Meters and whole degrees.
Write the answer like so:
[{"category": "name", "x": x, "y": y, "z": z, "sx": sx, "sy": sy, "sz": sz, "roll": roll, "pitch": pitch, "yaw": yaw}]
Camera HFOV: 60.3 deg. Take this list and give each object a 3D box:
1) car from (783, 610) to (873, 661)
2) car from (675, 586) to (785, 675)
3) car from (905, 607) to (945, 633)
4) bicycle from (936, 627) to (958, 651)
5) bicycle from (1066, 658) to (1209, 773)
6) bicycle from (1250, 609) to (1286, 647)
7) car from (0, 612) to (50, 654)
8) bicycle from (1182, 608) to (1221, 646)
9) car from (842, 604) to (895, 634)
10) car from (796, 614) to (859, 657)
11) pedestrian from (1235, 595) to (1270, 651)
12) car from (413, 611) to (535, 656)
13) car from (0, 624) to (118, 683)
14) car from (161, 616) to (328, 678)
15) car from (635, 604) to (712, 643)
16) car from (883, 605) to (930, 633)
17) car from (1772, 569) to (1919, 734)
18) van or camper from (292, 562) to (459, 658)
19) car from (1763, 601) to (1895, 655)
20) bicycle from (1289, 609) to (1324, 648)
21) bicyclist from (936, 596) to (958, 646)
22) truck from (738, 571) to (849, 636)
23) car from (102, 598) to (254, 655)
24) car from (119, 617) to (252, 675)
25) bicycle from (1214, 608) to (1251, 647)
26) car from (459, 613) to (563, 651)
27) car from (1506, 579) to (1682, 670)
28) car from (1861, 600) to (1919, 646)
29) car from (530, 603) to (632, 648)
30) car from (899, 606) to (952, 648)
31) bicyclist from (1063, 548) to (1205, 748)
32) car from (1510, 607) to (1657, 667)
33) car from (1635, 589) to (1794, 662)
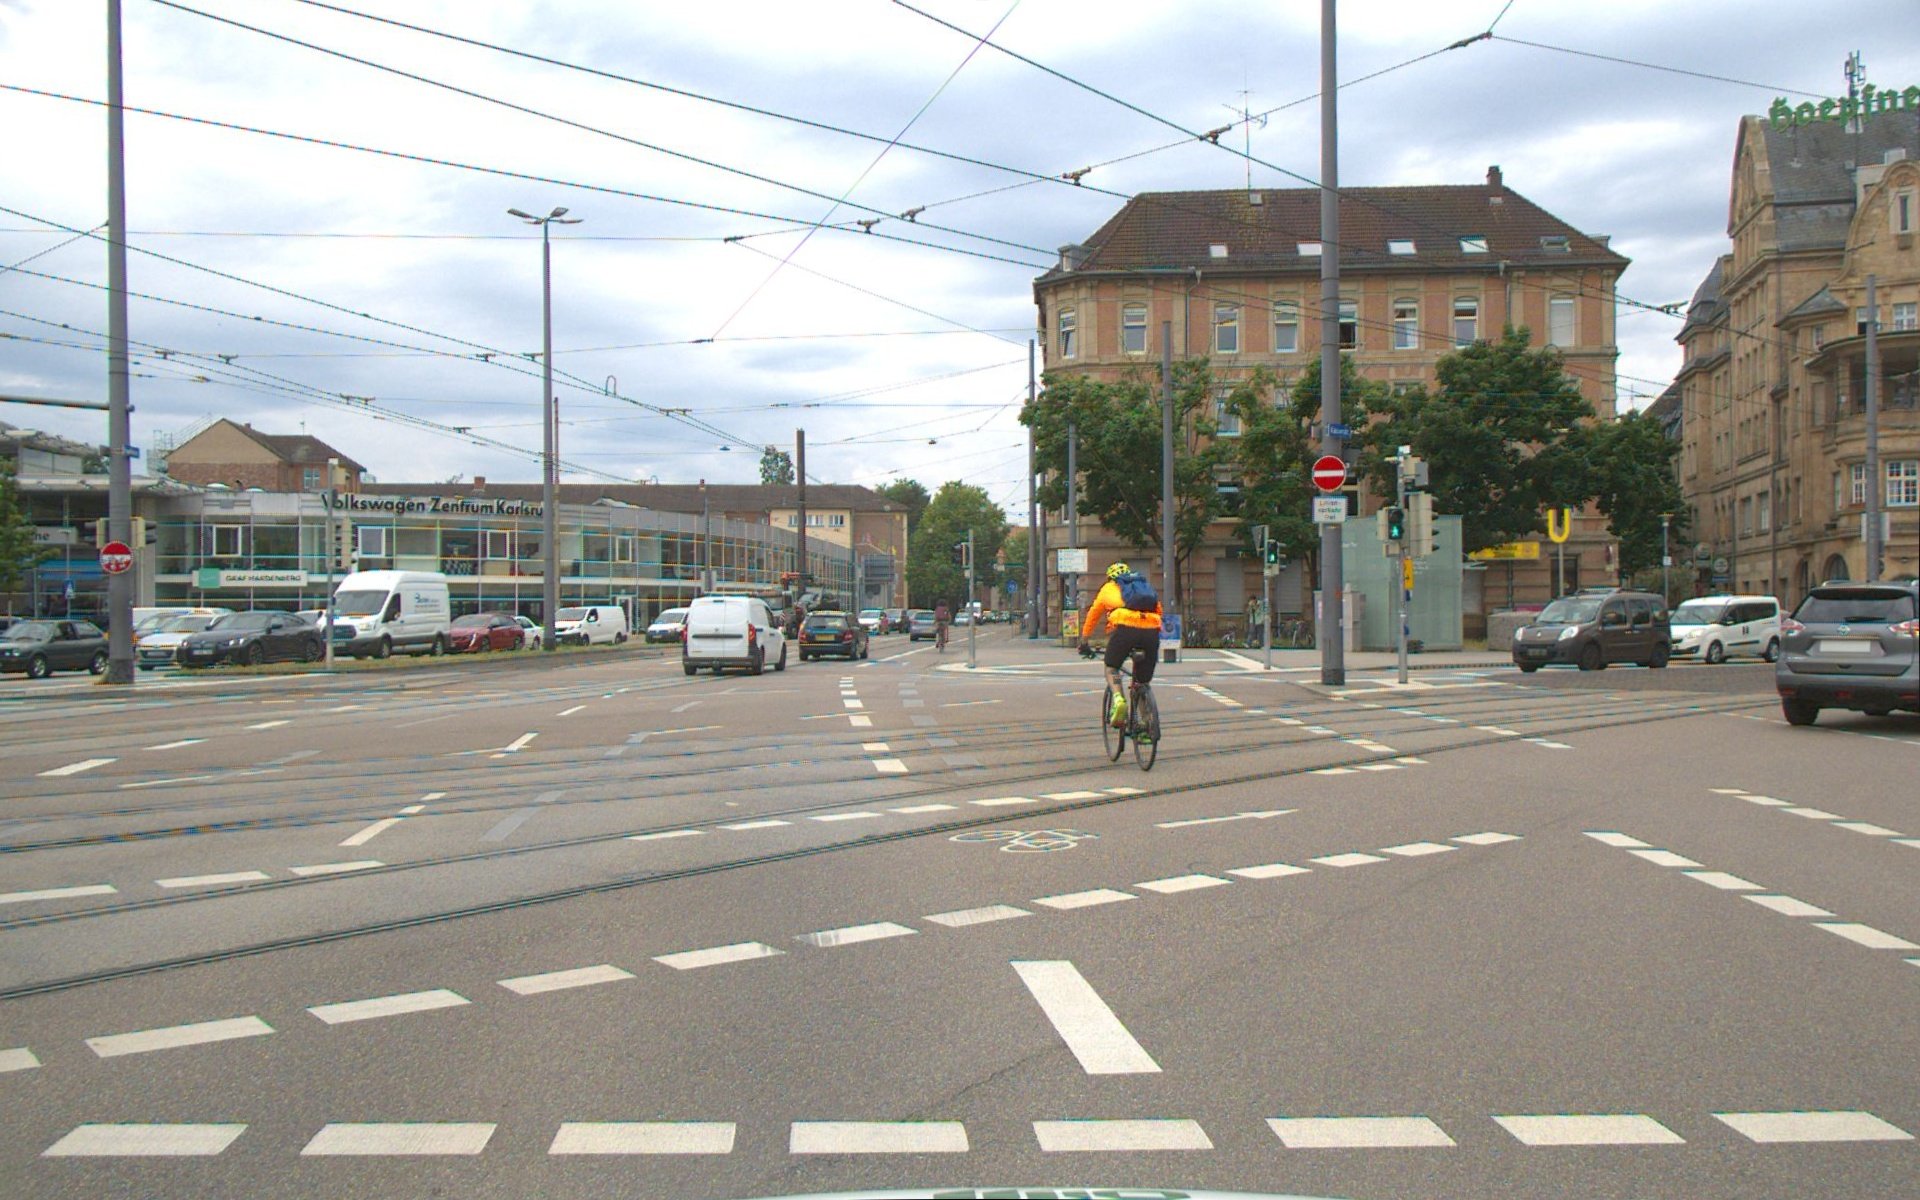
[{"category": "car", "x": -3.923, "y": 1.045, "z": 49.727, "sx": 1.951, "sy": 1.445, "sz": 4.003, "roll": -1, "pitch": 0, "yaw": 6}, {"category": "car", "x": -5.372, "y": 0.694, "z": 39.126, "sx": 1.873, "sy": 1.974, "sz": 4.132, "roll": 0, "pitch": 0, "yaw": 2}, {"category": "car", "x": -2.540, "y": 1.461, "z": 120.566, "sx": 1.951, "sy": 1.871, "sz": 4.527, "roll": -1, "pitch": 0, "yaw": 11}, {"category": "bicycle", "x": -0.473, "y": 1.376, "z": 58.208, "sx": 0.607, "sy": 0.807, "sz": 1.589, "roll": -1, "pitch": -1, "yaw": -7}, {"category": "bicycle", "x": 1.502, "y": 0.966, "z": 14.372, "sx": 0.547, "sy": 0.863, "sz": 2.065, "roll": 0, "pitch": -1, "yaw": -14}, {"category": "bicycle", "x": 11.323, "y": 1.027, "z": 60.736, "sx": 0.937, "sy": 1.378, "sz": 3.122, "roll": 0, "pitch": -1, "yaw": 18}, {"category": "car", "x": -33.479, "y": 1.143, "z": 57.207, "sx": 1.600, "sy": 1.445, "sz": 3.740, "roll": 0, "pitch": 0, "yaw": 7}, {"category": "bicycle", "x": 8.950, "y": 1.010, "z": 61.212, "sx": 0.937, "sy": 1.378, "sz": 3.122, "roll": 0, "pitch": -1, "yaw": 18}, {"category": "car", "x": -5.839, "y": 1.184, "z": 106.142, "sx": 1.951, "sy": 1.871, "sz": 4.526, "roll": -1, "pitch": 0, "yaw": 16}, {"category": "car", "x": -4.944, "y": 1.324, "z": 62.300, "sx": 1.814, "sy": 1.534, "sz": 4.001, "roll": 0, "pitch": -1, "yaw": 3}, {"category": "pedestrian", "x": 9.227, "y": 0.727, "z": 52.167, "sx": 0.894, "sy": 1.758, "sz": 0.600, "roll": 0, "pitch": -1, "yaw": -15}, {"category": "car", "x": -16.446, "y": 1.121, "z": 56.213, "sx": 1.951, "sy": 1.445, "sz": 4.805, "roll": -1, "pitch": 0, "yaw": 11}, {"category": "car", "x": -21.680, "y": 1.230, "z": 38.878, "sx": 1.651, "sy": 1.269, "sz": 3.739, "roll": 0, "pitch": 0, "yaw": 4}, {"category": "car", "x": -17.994, "y": 1.140, "z": 41.862, "sx": 1.951, "sy": 1.445, "sz": 4.664, "roll": 0, "pitch": 0, "yaw": 4}, {"category": "car", "x": -14.130, "y": 1.131, "z": 81.757, "sx": 1.951, "sy": 1.871, "sz": 4.526, "roll": -1, "pitch": 0, "yaw": 16}, {"category": "car", "x": -3.661, "y": 1.280, "z": 114.332, "sx": 1.951, "sy": 1.871, "sz": 4.526, "roll": -1, "pitch": 0, "yaw": 16}, {"category": "car", "x": 11.354, "y": 0.554, "z": 19.784, "sx": 3.892, "sy": 1.786, "sz": 1.727, "roll": 0, "pitch": 0, "yaw": -43}, {"category": "van or camper", "x": -17.252, "y": 0.334, "z": 49.238, "sx": 2.364, "sy": 2.657, "sz": 6.055, "roll": 0, "pitch": -1, "yaw": 5}, {"category": "car", "x": 26.373, "y": 0.839, "z": 50.169, "sx": 4.254, "sy": 1.561, "sz": 1.845, "roll": 0, "pitch": -2, "yaw": -36}, {"category": "bicycle", "x": 12.765, "y": 1.043, "z": 60.825, "sx": 0.937, "sy": 1.378, "sz": 3.122, "roll": 0, "pitch": -1, "yaw": 18}, {"category": "bicyclist", "x": -0.468, "y": 0.739, "z": 58.198, "sx": 0.674, "sy": 1.738, "sz": 0.797, "roll": 0, "pitch": -1, "yaw": -7}, {"category": "truck", "x": -9.482, "y": 0.265, "z": 95.598, "sx": 2.736, "sy": 3.611, "sz": 9.225, "roll": 0, "pitch": -1, "yaw": 19}, {"category": "car", "x": -29.399, "y": 0.984, "z": 62.268, "sx": 4.665, "sy": 2.049, "sz": 2.122, "roll": 0, "pitch": -1, "yaw": 4}, {"category": "car", "x": -20.629, "y": 1.204, "z": 44.205, "sx": 1.601, "sy": 1.445, "sz": 3.739, "roll": 0, "pitch": 0, "yaw": 4}, {"category": "bicycle", "x": 10.064, "y": 1.018, "z": 60.980, "sx": 0.937, "sy": 1.378, "sz": 3.122, "roll": 0, "pitch": -1, "yaw": 18}, {"category": "car", "x": -17.811, "y": 1.236, "z": 65.898, "sx": 1.951, "sy": 1.445, "sz": 4.754, "roll": -1, "pitch": 0, "yaw": 14}, {"category": "car", "x": 14.277, "y": 0.543, "z": 37.168, "sx": 4.339, "sy": 1.934, "sz": 1.672, "roll": 0, "pitch": -1, "yaw": -37}, {"category": "car", "x": 31.044, "y": 0.734, "z": 53.573, "sx": 3.853, "sy": 1.424, "sz": 1.844, "roll": 0, "pitch": -3, "yaw": -37}, {"category": "car", "x": -16.417, "y": 1.086, "z": 71.911, "sx": 2.111, "sy": 1.889, "sz": 5.451, "roll": -1, "pitch": 0, "yaw": 14}, {"category": "car", "x": -1.691, "y": 1.366, "z": 82.824, "sx": 1.951, "sy": 2.049, "sz": 4.003, "roll": 0, "pitch": -1, "yaw": 9}, {"category": "bicyclist", "x": 1.497, "y": 0.399, "z": 14.420, "sx": 0.813, "sy": 1.649, "sz": 1.316, "roll": 0, "pitch": -1, "yaw": -14}, {"category": "car", "x": 15.967, "y": 0.913, "z": 42.279, "sx": 3.957, "sy": 1.467, "sz": 1.672, "roll": 0, "pitch": -1, "yaw": -37}, {"category": "car", "x": 21.283, "y": 0.684, "z": 46.577, "sx": 5.043, "sy": 1.949, "sz": 1.845, "roll": 0, "pitch": -1, "yaw": -36}]
